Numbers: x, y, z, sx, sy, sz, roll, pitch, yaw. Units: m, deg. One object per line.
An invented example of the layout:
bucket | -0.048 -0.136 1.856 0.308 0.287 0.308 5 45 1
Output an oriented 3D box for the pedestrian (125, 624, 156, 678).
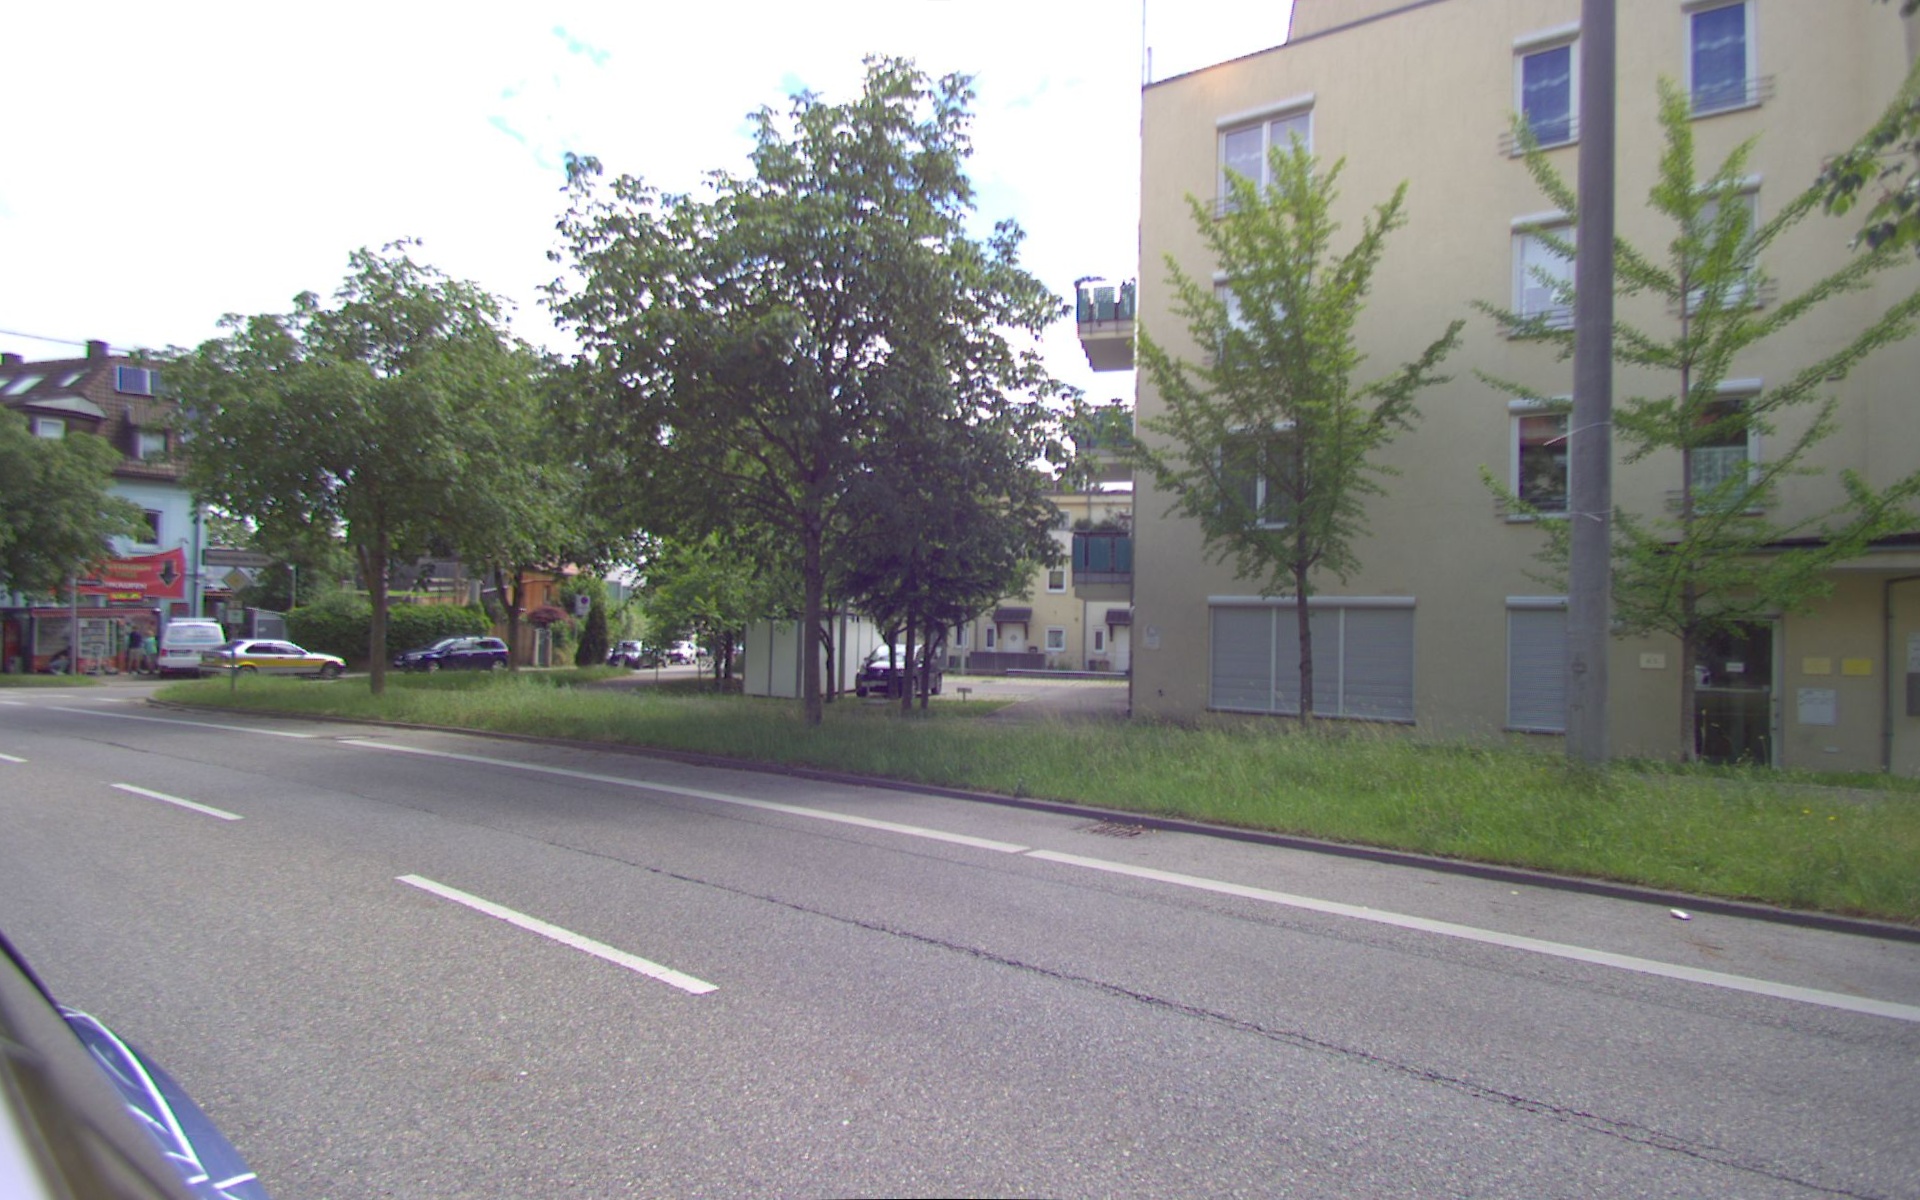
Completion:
pedestrian | -29.305 1.821 36.210 0.557 1.910 0.624 1 -1 4

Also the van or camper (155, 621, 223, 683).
van or camper | -27.233 1.786 35.703 1.762 2.009 4.388 2 -2 -38

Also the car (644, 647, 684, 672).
car | -18.265 3.661 62.629 1.570 1.332 3.781 2 -1 -4

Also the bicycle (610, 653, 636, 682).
bicycle | -11.622 2.307 34.956 0.456 0.866 2.229 1 -1 -8

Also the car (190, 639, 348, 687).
car | -23.027 2.048 33.876 1.807 1.424 3.991 1 -1 28

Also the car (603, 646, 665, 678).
car | -15.821 2.970 49.256 1.573 1.332 3.774 2 -1 3

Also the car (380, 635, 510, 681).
car | -19.356 2.123 38.192 1.810 1.560 3.957 1 -1 33

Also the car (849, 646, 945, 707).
car | -1.675 2.056 27.902 1.422 1.461 3.374 0 -1 20

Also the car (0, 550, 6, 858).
car | -8.969 0.711 7.276 5.217 2.009 2.083 -1 -1 35

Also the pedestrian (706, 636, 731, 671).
pedestrian | -11.607 2.567 48.620 0.811 1.607 0.728 -6 -5 30
